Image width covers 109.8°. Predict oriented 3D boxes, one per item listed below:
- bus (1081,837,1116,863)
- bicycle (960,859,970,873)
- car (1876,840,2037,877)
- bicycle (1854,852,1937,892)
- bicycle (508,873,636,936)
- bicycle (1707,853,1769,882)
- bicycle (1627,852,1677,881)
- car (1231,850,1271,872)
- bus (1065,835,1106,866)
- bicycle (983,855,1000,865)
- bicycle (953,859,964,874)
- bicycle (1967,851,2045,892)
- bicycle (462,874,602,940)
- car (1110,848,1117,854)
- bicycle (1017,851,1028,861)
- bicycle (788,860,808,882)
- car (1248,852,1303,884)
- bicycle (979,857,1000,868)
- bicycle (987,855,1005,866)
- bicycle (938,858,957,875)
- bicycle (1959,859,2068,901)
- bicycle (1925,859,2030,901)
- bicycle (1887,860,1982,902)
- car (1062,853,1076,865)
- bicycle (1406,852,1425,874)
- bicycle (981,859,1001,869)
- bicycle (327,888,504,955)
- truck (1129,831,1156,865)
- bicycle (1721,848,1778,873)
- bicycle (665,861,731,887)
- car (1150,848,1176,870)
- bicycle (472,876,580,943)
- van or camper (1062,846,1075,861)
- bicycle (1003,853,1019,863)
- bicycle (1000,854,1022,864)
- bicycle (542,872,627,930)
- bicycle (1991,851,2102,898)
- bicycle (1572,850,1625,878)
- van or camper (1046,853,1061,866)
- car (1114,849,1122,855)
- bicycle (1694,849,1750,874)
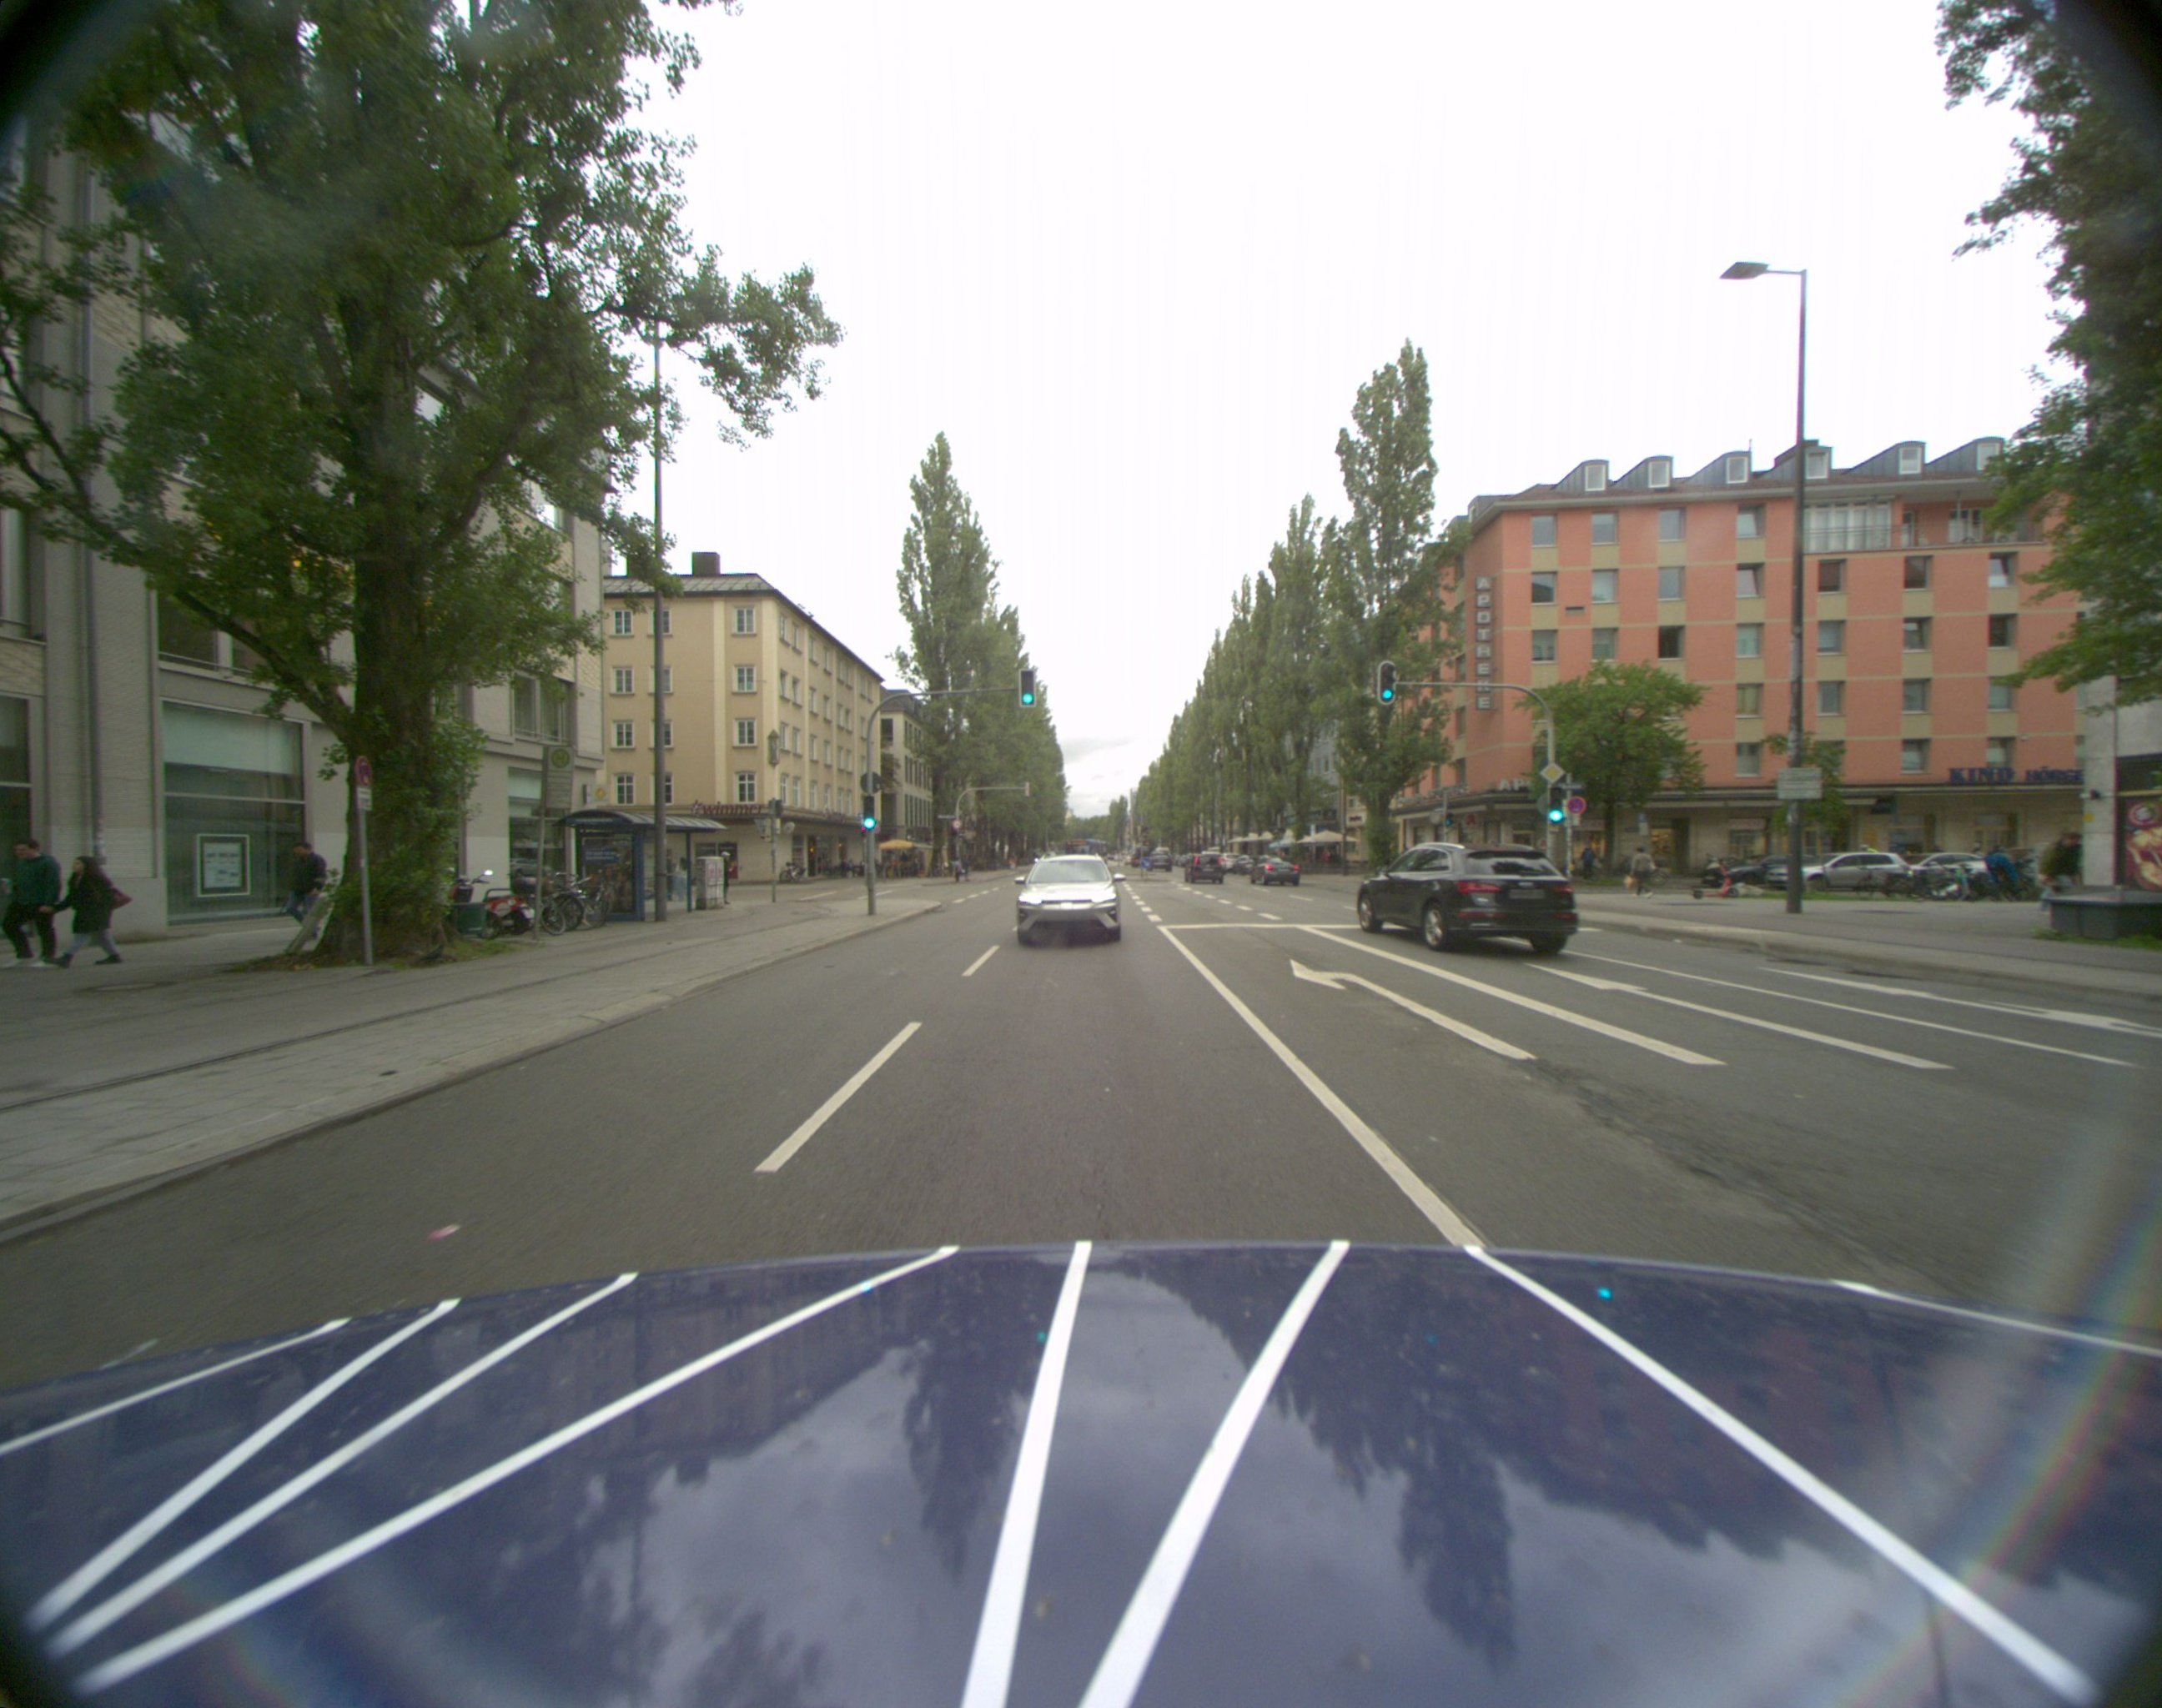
[{"bbox_3d":[2.236,-0.486,91.669,2.804,2.886,12.864,-1,0,8],"label":"bus"},{"bbox_3d":[-8.876,0.912,58.200,0.510,0.970,1.770,-1,1,-1],"label":"bicycle"},{"bbox_3d":[35.138,0.178,30.604,3.942,1.412,1.892,-1,1,9],"label":"car"},{"bbox_3d":[24.658,0.519,23.047,0.416,1.177,1.852,-1,1,-6],"label":"bicycle"},{"bbox_3d":[-10.669,1.053,15.956,2.321,1.245,0.477,-1,1,0],"label":"bicycle"},{"bbox_3d":[28.641,0.574,33.153,2.060,1.177,0.538,-2,1,8],"label":"bicycle"},{"bbox_3d":[24.159,0.505,32.207,0.416,1.177,2.062,-1,1,-6],"label":"bicycle"},{"bbox_3d":[12.130,0.447,54.487,1.707,1.430,4.589,0,1,-1],"label":"car"},{"bbox_3d":[0.650,-0.388,79.600,2.804,2.886,12.864,-1,0,7],"label":"bus"},{"bbox_3d":[-9.387,0.619,79.553,1.666,1.100,0.396,-1,1,-11],"label":"bicycle"},{"bbox_3d":[-8.736,0.861,54.214,0.510,1.042,1.770,-1,1,-1],"label":"bicycle"},{"bbox_3d":[27.662,0.498,22.767,0.415,1.177,2.066,-1,1,17],"label":"bicycle"},{"bbox_3d":[-11.086,1.056,15.375,2.349,1.245,0.633,-1,1,0],"label":"bicycle"},{"bbox_3d":[9.199,-0.801,213.419,1.848,1.626,4.575,1,0,1],"label":"car"},{"bbox_3d":[-8.742,0.347,113.801,0.829,1.403,2.594,-2,1,-25],"label":"bicycle"},{"bbox_3d":[-15.919,0.959,42.789,0.435,1.164,1.811,-2,1,-1],"label":"bicycle"},{"bbox_3d":[9.388,0.624,36.947,1.646,1.431,3.996,0,1,0],"label":"car"},{"bbox_3d":[-8.987,0.823,74.775,2.005,1.077,0.286,-1,1,-9],"label":"bicycle"},{"bbox_3d":[-9.009,0.730,80.781,1.871,1.129,0.339,-1,1,-8],"label":"bicycle"},{"bbox_3d":[-9.134,0.817,51.883,0.405,1.064,1.813,-6,0,17],"label":"bicycle"},{"bbox_3d":[27.904,0.741,22.794,0.451,1.177,2.060,-1,1,-15],"label":"bicycle"},{"bbox_3d":[26.741,0.742,22.715,0.417,1.177,2.005,-1,1,-19],"label":"bicycle"},{"bbox_3d":[25.566,0.775,22.819,0.416,1.177,2.031,-1,1,-6],"label":"bicycle"},{"bbox_3d":[-1.632,0.656,106.487,1.758,1.529,3.916,-2,0,0],"label":"car"},{"bbox_3d":[17.985,0.495,40.901,0.422,1.135,1.373,-1,1,2],"label":"bicycle"},{"bbox_3d":[-8.904,0.950,75.157,2.005,0.940,0.286,-1,1,-7],"label":"bicycle"},{"bbox_3d":[-11.020,1.107,12.643,2.153,1.011,0.874,-1,1,0],"label":"bicycle"},{"bbox_3d":[6.886,-0.736,86.556,2.469,3.649,8.438,-1,1,1],"label":"truck"},{"bbox_3d":[32.209,0.325,36.616,2.061,1.177,0.690,-1,1,3],"label":"bicycle"},{"bbox_3d":[-20.607,1.056,40.954,2.978,1.245,0.999,-2,1,0],"label":"bicycle"},{"bbox_3d":[7.001,0.390,65.188,1.889,1.736,4.439,-1,1,1],"label":"car"},{"bbox_3d":[-10.625,1.057,14.559,1.728,1.232,0.449,-1,1,2],"label":"bicycle"},{"bbox_3d":[-2.084,-0.112,126.956,1.999,2.470,6.642,-1,0,-1],"label":"van or camper"},{"bbox_3d":[-8.484,0.499,92.429,1.902,1.120,0.686,-1,1,1],"label":"bicycle"},{"bbox_3d":[-8.367,0.618,91.162,2.577,1.208,0.965,-1,1,1],"label":"bicycle"},{"bbox_3d":[-11.313,1.045,17.300,2.241,1.245,0.478,-1,1,25],"label":"bicycle"},{"bbox_3d":[26.263,0.558,20.680,2.137,1.242,0.558,-1,1,5],"label":"bicycle"},{"bbox_3d":[23.860,0.459,35.045,2.060,1.177,0.416,-2,1,8],"label":"bicycle"},{"bbox_3d":[-3.945,0.770,108.929,1.795,1.894,4.565,-1,0,1],"label":"van or camper"},{"bbox_3d":[9.332,-0.545,192.941,1.848,1.626,4.575,1,0,1],"label":"car"},{"bbox_3d":[30.978,0.346,36.714,2.061,1.177,0.690,-1,1,3],"label":"bicycle"}]
